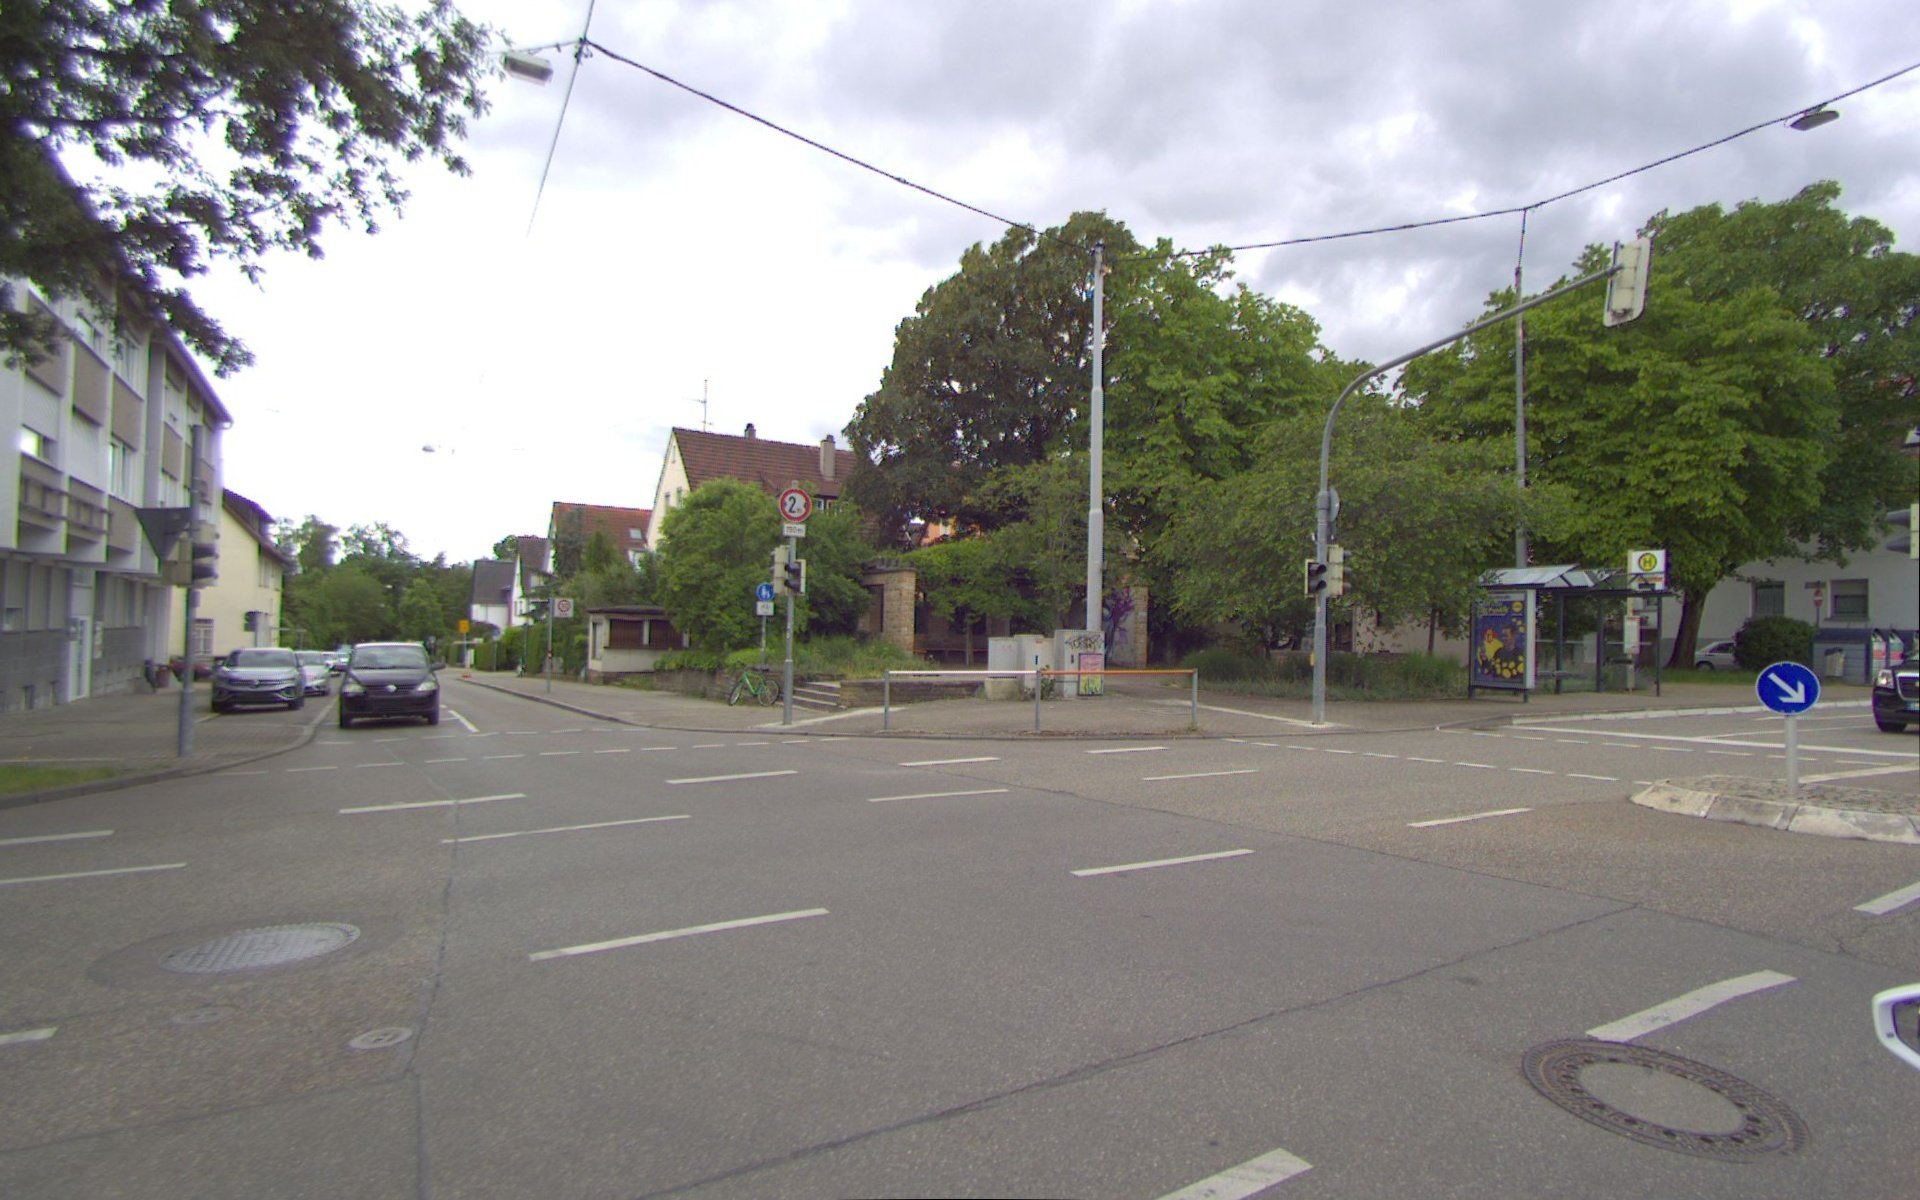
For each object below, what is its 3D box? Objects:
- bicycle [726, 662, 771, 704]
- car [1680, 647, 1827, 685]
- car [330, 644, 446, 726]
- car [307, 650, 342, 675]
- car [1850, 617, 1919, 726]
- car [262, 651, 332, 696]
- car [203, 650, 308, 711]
[{"bbox_3d":[-4.959,1.931,23.500,0.422,0.954,1.302,3,-5,-43],"label":"bicycle"},{"bbox_3d":[29.559,2.469,37.536,1.700,1.349,3.973,3,-4,-27],"label":"car"},{"bbox_3d":[-10.928,1.589,19.331,1.750,1.416,3.620,1,-4,-28],"label":"car"},{"bbox_3d":[-39.164,3.820,61.919,1.774,1.480,4.378,1,-3,-33],"label":"car"},{"bbox_3d":[16.647,1.188,16.286,4.536,1.656,1.752,3,-4,-27],"label":"car"},{"bbox_3d":[-22.914,2.527,34.835,1.808,1.458,3.618,1,-4,-30],"label":"car"},{"bbox_3d":[-17.770,2.007,25.486,1.735,1.416,3.620,1,-4,-28],"label":"car"}]
